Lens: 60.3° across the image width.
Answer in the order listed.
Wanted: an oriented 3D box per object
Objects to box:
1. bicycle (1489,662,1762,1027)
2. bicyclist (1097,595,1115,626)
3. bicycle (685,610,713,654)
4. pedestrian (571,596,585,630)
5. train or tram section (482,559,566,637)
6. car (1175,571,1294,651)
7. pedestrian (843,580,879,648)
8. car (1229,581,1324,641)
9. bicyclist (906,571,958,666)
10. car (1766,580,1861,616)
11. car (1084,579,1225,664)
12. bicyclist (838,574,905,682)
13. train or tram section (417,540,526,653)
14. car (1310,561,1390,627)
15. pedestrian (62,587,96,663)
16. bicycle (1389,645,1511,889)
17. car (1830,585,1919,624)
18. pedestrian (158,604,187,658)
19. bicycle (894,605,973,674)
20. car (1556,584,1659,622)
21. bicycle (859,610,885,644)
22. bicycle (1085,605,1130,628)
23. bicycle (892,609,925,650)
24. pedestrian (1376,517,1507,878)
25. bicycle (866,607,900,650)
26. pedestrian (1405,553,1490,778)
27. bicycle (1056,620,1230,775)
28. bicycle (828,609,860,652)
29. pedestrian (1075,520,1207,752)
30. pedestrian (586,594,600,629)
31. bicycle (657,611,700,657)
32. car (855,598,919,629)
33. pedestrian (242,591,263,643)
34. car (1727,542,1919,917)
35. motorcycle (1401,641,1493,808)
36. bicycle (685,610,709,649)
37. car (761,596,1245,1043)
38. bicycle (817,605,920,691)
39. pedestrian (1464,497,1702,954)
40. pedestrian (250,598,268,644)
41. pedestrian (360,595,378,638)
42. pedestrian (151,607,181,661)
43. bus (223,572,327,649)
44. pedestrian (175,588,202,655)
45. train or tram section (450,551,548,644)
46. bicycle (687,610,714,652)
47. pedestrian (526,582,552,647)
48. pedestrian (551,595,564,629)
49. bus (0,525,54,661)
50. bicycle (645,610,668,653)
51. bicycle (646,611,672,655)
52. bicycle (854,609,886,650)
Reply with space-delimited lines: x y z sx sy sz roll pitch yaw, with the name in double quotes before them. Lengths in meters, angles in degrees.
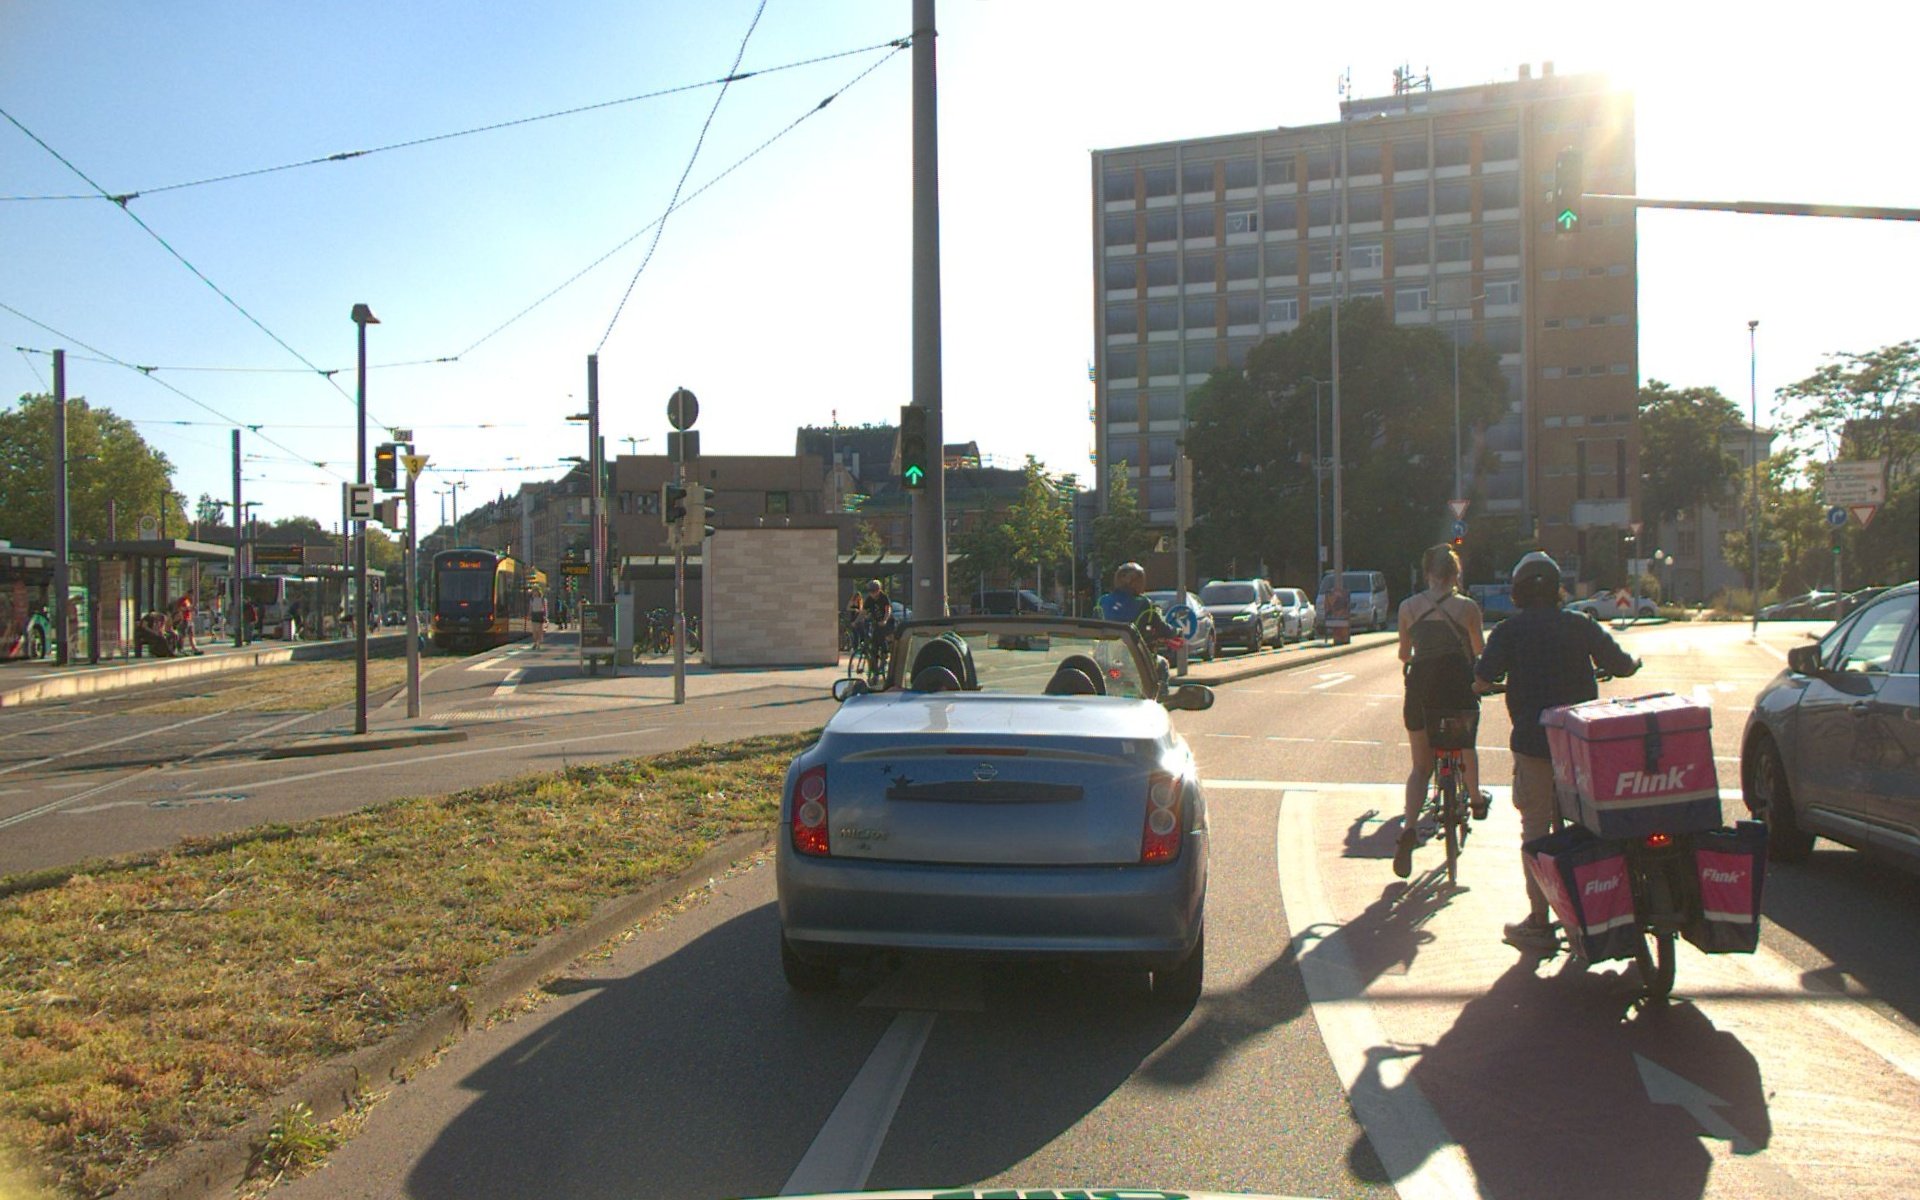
"bicycle" 2.715 0.898 6.997 0.542 1.192 2.374 1 0 9
"bicyclist" 7.741 0.562 87.655 0.737 1.626 0.588 1 -1 30
"bicycle" -6.990 0.842 44.278 0.596 1.134 1.890 1 0 -13
"pedestrian" -19.776 0.672 85.599 0.628 1.779 0.732 -1 0 -19
"train or tram section" -22.046 -0.073 84.259 2.984 3.659 12.024 1 0 -10
"car" 6.590 0.230 39.344 1.726 1.736 4.529 -2 -1 23
"pedestrian" -2.797 0.393 46.760 0.885 1.901 0.685 1 -1 -13
"car" 8.873 0.282 46.158 1.661 1.588 3.977 -1 0 25
"bicyclist" -0.504 0.329 30.009 0.694 1.686 0.743 -1 0 21
"car" 39.695 -0.089 76.998 3.909 1.601 1.734 1 0 27
"car" 4.007 0.421 33.545 1.702 1.601 3.921 1 0 25
"bicyclist" -1.437 0.449 26.837 0.694 1.686 0.901 -3 -1 21
"train or tram section" -17.647 -0.108 60.409 2.831 3.659 12.161 1 0 -12
"car" 12.788 -0.197 54.090 1.869 1.979 4.707 -3 -1 21
"pedestrian" -20.993 0.588 39.419 0.527 1.779 0.559 -1 0 -6
"bicycle" 2.708 0.860 9.272 0.552 1.171 1.951 1 0 14
"car" 39.829 0.201 71.381 3.912 1.557 1.802 -2 0 30
"pedestrian" -20.253 0.800 42.550 0.561 1.369 0.637 -1 0 -17
"bicycle" -0.461 0.699 30.098 0.660 1.201 2.183 -1 0 21
"car" 28.986 0.152 74.160 3.903 1.557 1.806 -2 0 3
"bicycle" -3.021 0.908 56.686 0.596 1.134 1.890 1 0 -13
"bicycle" 7.805 0.873 87.611 2.362 1.212 0.608 1 -1 30
"bicycle" -1.497 0.828 47.545 0.596 1.134 1.890 1 0 -13
"pedestrian" 2.665 0.511 9.220 0.645 1.901 0.873 1 -1 14
"bicycle" -2.111 0.780 45.216 0.596 1.134 1.890 1 0 -13
"pedestrian" 3.706 0.477 12.580 0.575 1.626 1.025 1 -1 16
"bicycle" 1.627 0.786 14.270 0.596 1.212 2.410 1 0 29
"bicycle" -3.163 0.822 45.059 0.596 1.134 1.890 1 0 -13
"pedestrian" 1.559 0.294 14.177 0.817 1.901 0.919 1 -1 28
"pedestrian" -19.053 0.601 85.838 0.628 1.779 0.732 -1 0 -19
"bicycle" -7.185 0.854 42.339 0.594 1.134 1.898 1 0 5
"car" -3.915 0.736 88.408 1.629 1.588 3.549 -1 0 -39
"pedestrian" -24.962 0.598 58.355 0.630 1.779 0.567 -1 0 -27
"car" 5.366 0.609 7.983 1.792 1.719 4.372 1 0 8
"motorcycle" 3.744 0.894 12.727 0.600 1.117 2.361 1 0 16
"bicycle" -7.980 0.891 50.200 0.596 1.134 1.890 1 0 -13
"car" 0.354 0.745 7.683 1.625 1.466 4.157 1 0 6
"bicycle" -1.445 0.755 26.769 0.660 1.272 2.457 -3 -1 21
"pedestrian" 2.762 0.521 7.428 0.789 1.901 0.957 1 -1 8
"pedestrian" -27.961 0.834 65.978 0.562 1.779 0.636 -1 0 -20
"pedestrian" -24.442 0.689 68.398 0.630 1.779 0.567 -1 0 -27
"pedestrian" -20.095 0.854 41.869 0.606 1.364 0.438 -1 0 -18
"bus" -32.736 0.463 79.556 2.675 3.331 13.413 1 0 -14
"pedestrian" -20.708 0.579 44.408 0.561 1.779 0.637 -1 0 -17
"train or tram section" -19.981 -0.086 72.364 2.957 3.659 12.169 1 0 -10
"bicycle" -7.280 0.859 46.336 0.596 1.134 1.890 1 0 -13
"pedestrian" -11.717 0.394 45.994 0.628 1.779 0.569 -1 0 -19
"pedestrian" -21.790 0.644 89.581 0.593 1.779 0.830 -1 0 -8
"bus" -23.562 -0.181 37.172 2.606 3.190 9.619 1 0 -10
"bicycle" -8.425 0.858 45.850 0.596 1.134 1.891 1 0 -11
"bicycle" -7.993 0.857 43.931 0.596 1.134 1.890 1 0 -13
"bicycle" -2.560 0.841 47.140 0.596 1.134 1.890 1 0 -13
